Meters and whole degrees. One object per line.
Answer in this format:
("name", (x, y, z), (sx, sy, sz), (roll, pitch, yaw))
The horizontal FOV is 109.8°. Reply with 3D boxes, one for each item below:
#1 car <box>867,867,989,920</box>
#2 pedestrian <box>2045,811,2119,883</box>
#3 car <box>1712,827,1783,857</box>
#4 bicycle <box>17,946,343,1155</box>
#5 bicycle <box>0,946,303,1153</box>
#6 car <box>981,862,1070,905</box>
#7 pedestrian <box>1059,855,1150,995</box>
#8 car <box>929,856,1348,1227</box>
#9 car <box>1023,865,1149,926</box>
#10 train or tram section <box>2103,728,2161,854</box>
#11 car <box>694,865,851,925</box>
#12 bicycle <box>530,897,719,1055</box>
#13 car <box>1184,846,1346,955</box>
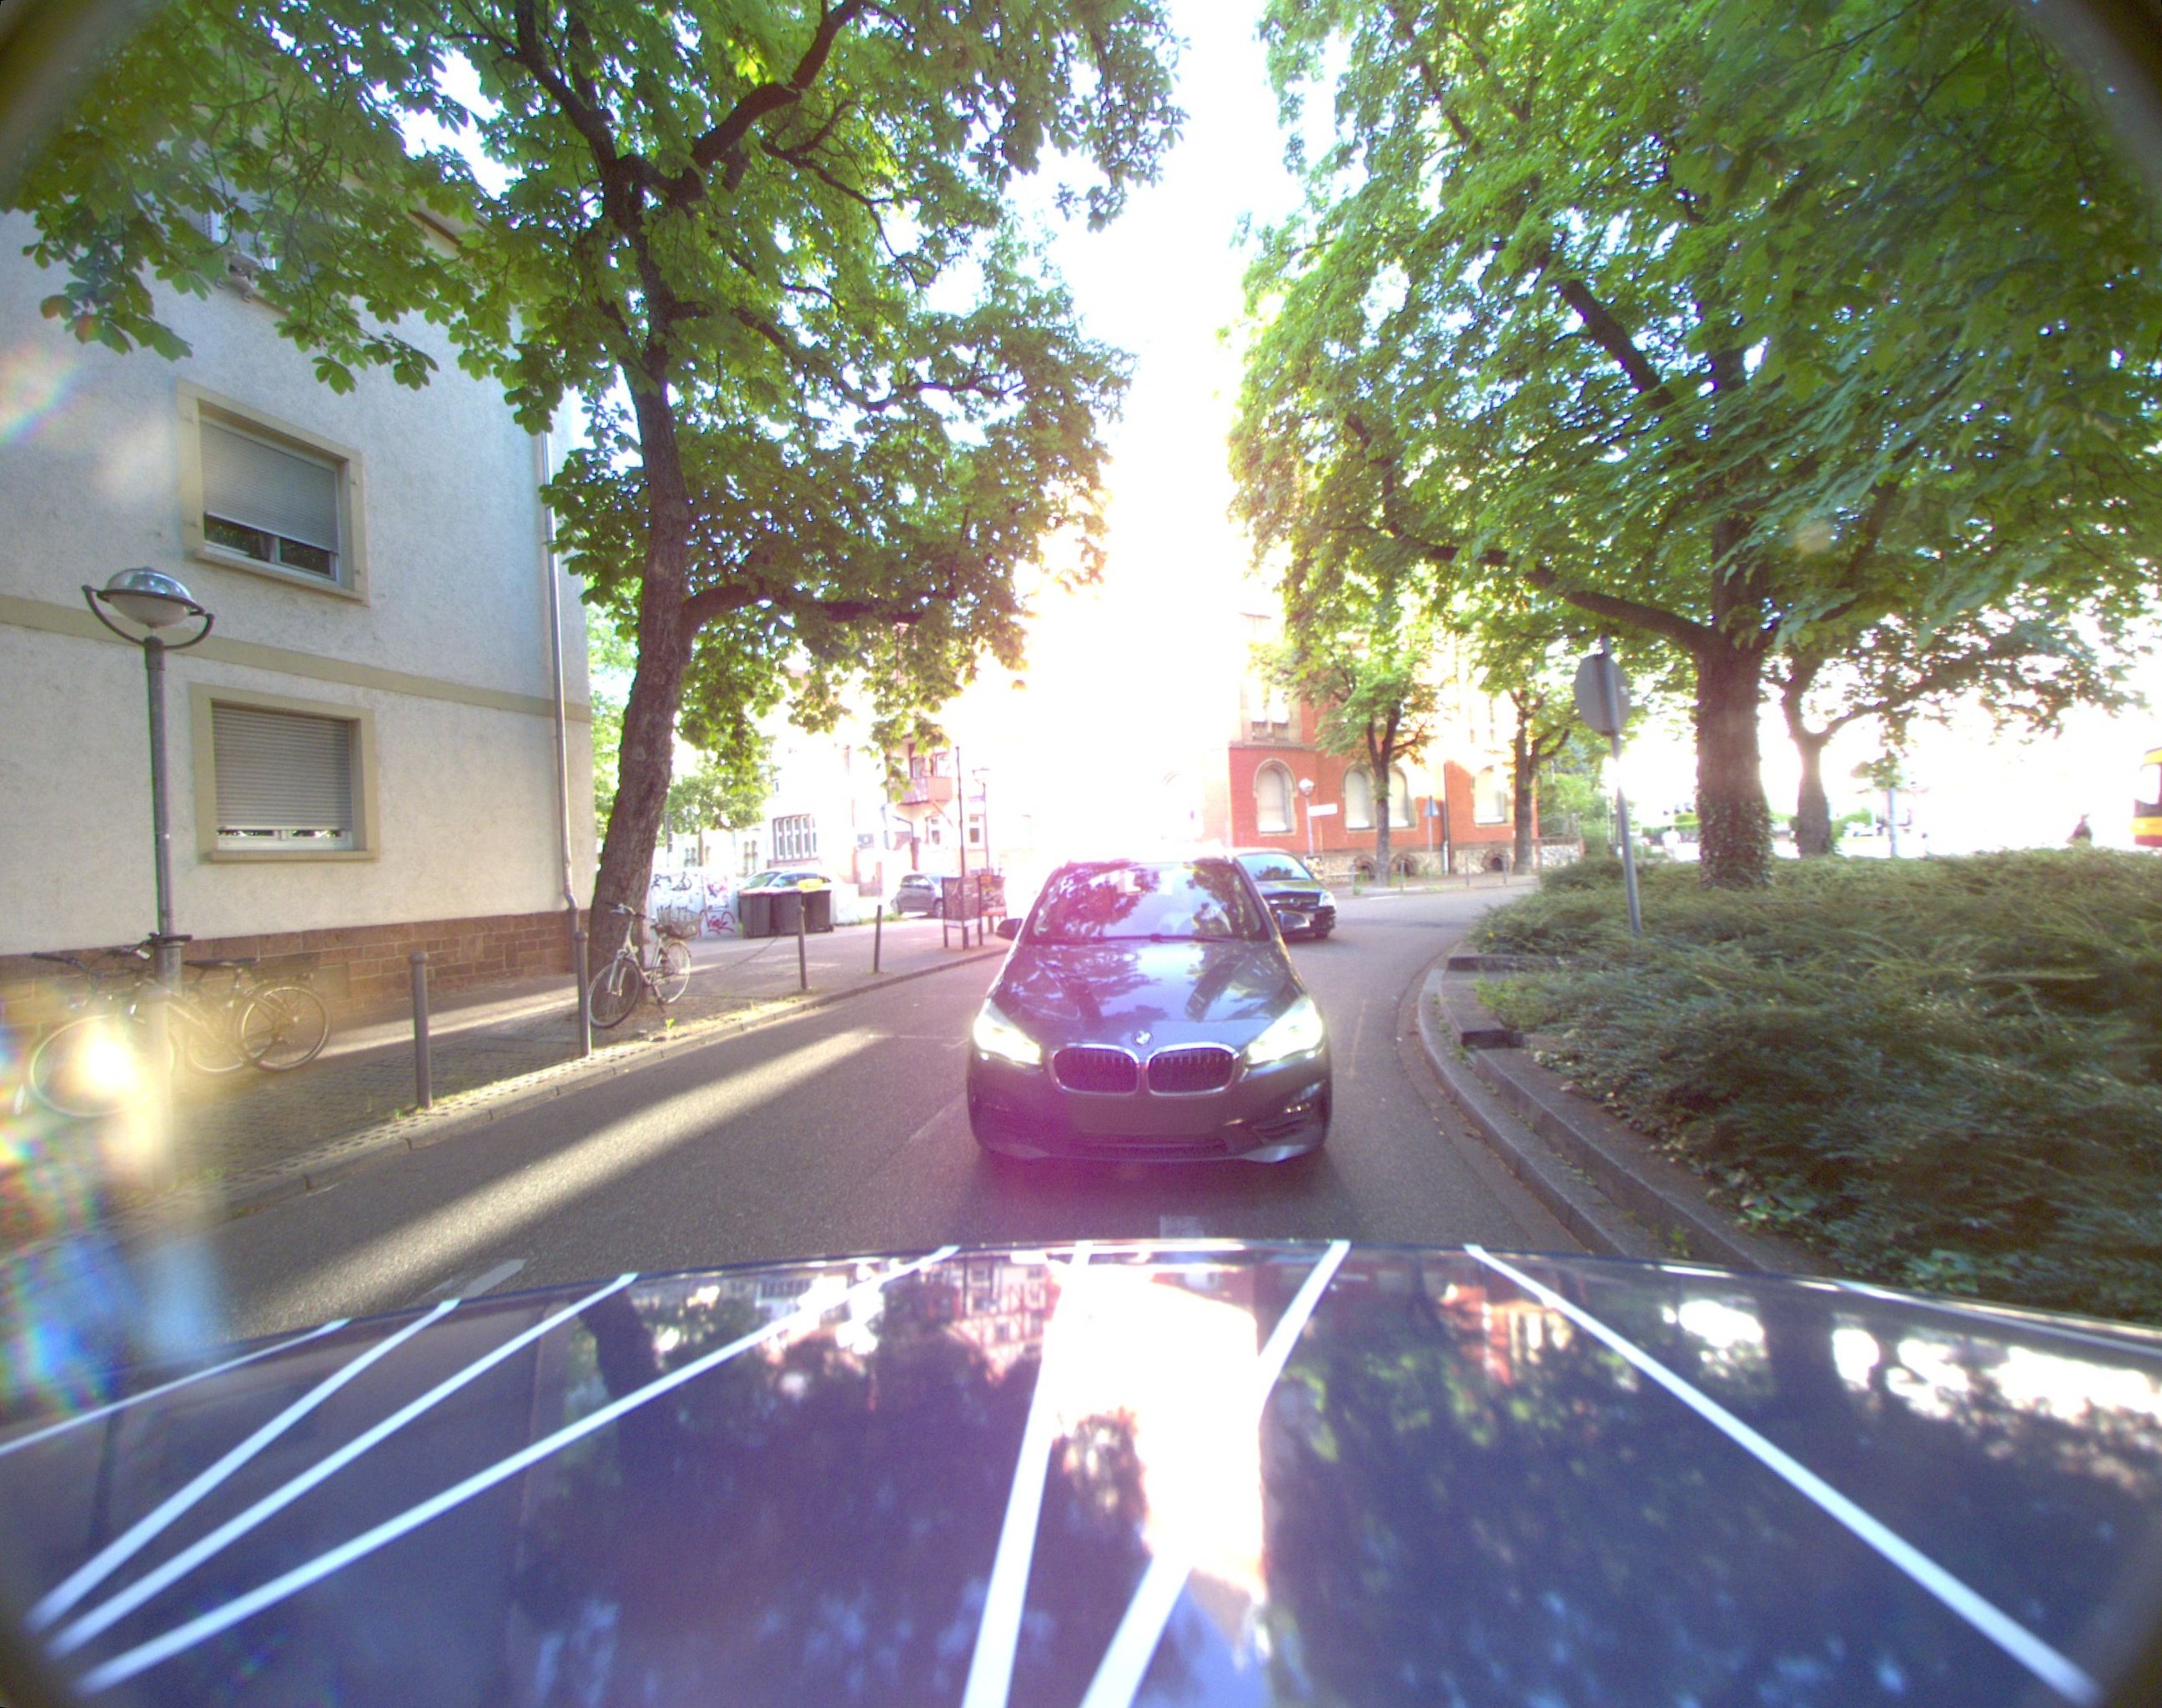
("car", (-5.126, 1.303, 25.198), (4.041, 1.543, 1.699), (-3, 0, 40))
("pedestrian", (23.867, -0.164, 18.121), (0.905, 1.625, 0.725), (-5, 0, -17))
("car", (35.207, -0.633, 40.263), (1.733, 1.409, 4.006), (-3, 0, 25))
("bicycle", (-6.367, 1.314, 5.516), (0.334, 1.087, 1.636), (-3, 0, 1))
("bicycle", (-6.755, 1.328, 5.572), (0.334, 1.087, 1.636), (-3, 0, 1))
("car", (-2.154, 1.133, 29.189), (3.207, 1.530, 1.495), (-2, 0, 38))
("pedestrian", (0.297, 0.830, 9.131), (0.944, 1.583, 0.643), (-3, 0, 8))
("car", (0.462, 0.850, 5.481), (1.792, 1.569, 4.262), (-2, 0, 6))
("car", (0.065, 1.065, 20.182), (1.475, 1.381, 3.393), (-5, 2, -38))
("train or tram section", (30.274, -1.777, 16.463), (2.768, 3.536, 12.697), (-3, 0, 18))
("car", (-8.807, 1.139, 21.942), (1.672, 1.417, 3.811), (-3, 0, 36))
("bicycle", (-4.602, 1.160, 7.857), (0.767, 1.297, 1.903), (-3, 0, -1))
("car", (3.179, 0.745, 13.905), (1.680, 1.619, 3.686), (-3, 0, -6))
